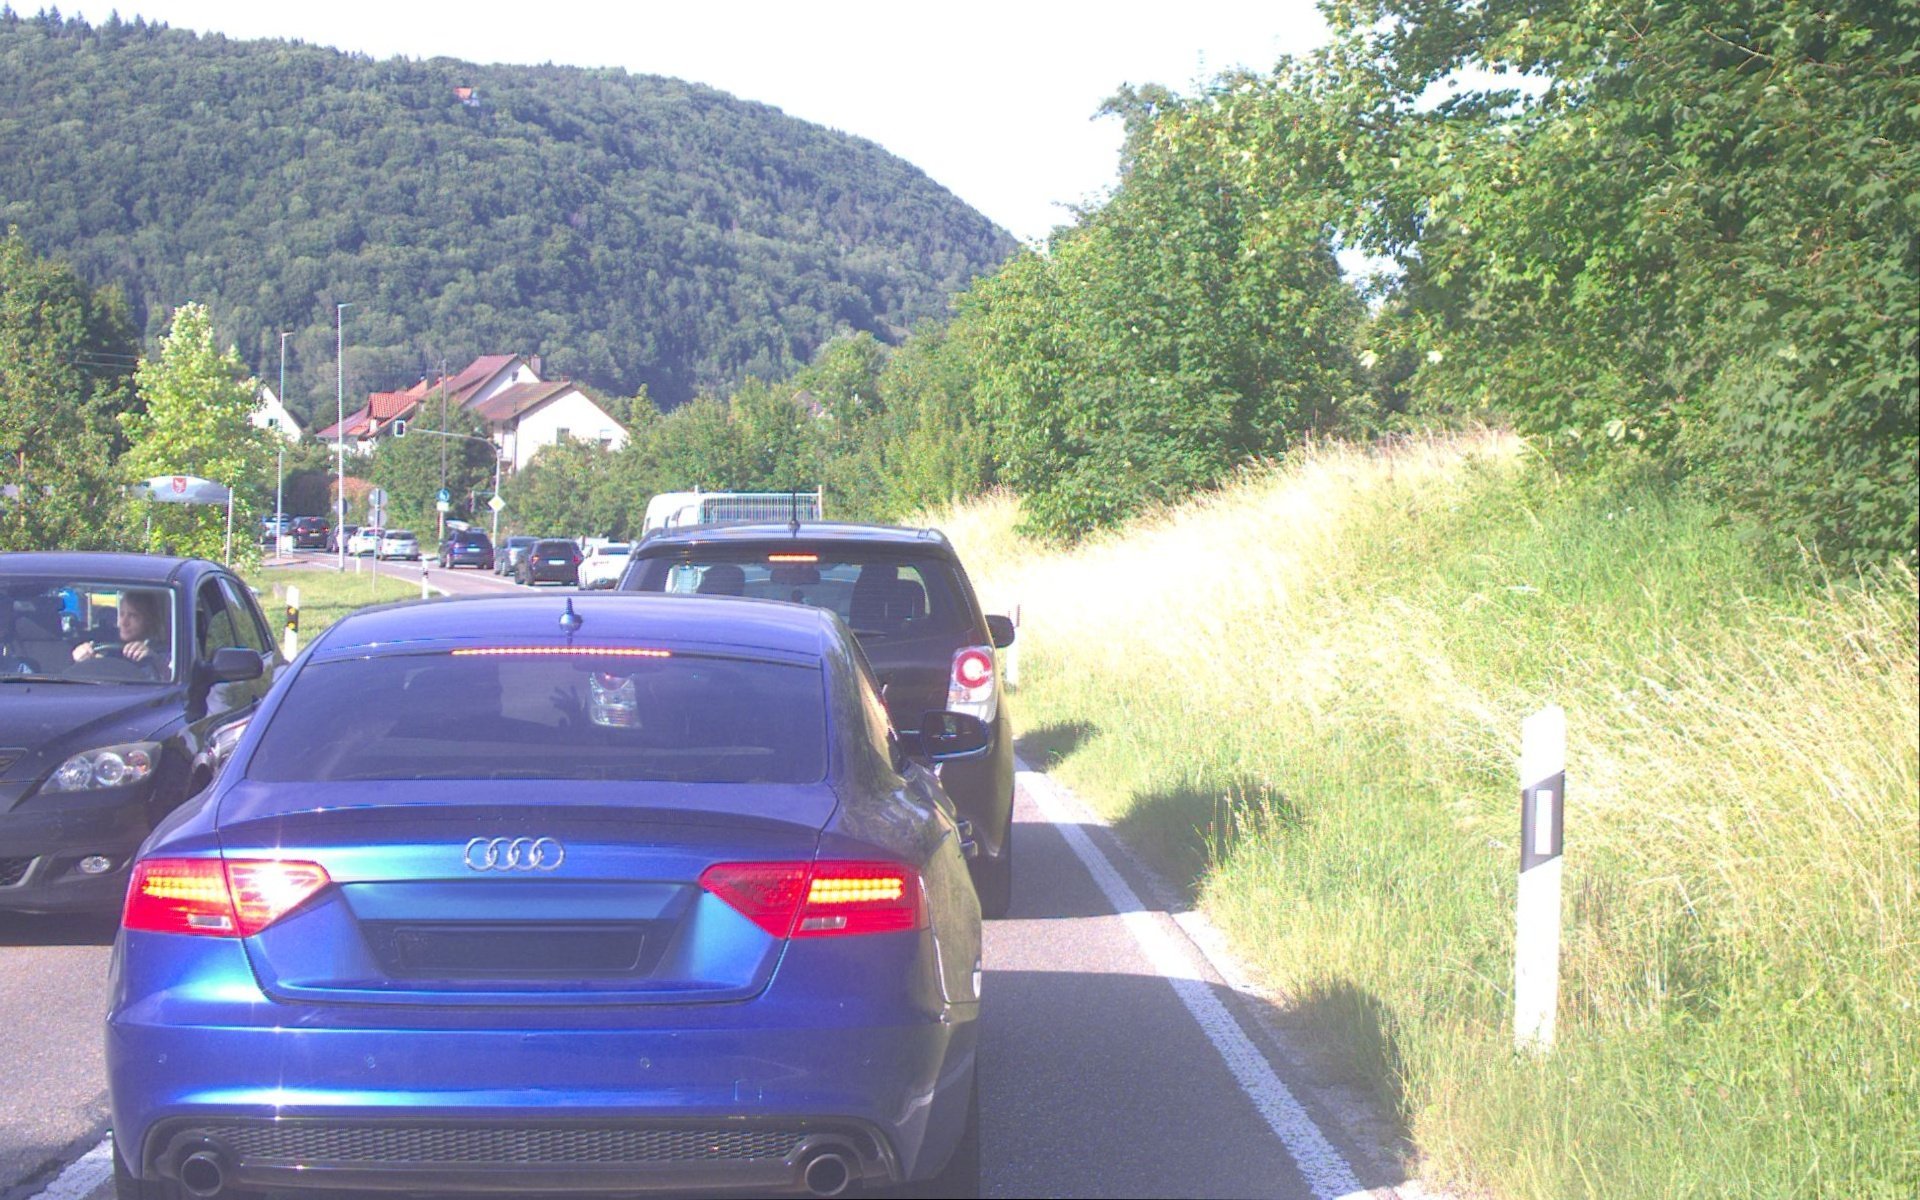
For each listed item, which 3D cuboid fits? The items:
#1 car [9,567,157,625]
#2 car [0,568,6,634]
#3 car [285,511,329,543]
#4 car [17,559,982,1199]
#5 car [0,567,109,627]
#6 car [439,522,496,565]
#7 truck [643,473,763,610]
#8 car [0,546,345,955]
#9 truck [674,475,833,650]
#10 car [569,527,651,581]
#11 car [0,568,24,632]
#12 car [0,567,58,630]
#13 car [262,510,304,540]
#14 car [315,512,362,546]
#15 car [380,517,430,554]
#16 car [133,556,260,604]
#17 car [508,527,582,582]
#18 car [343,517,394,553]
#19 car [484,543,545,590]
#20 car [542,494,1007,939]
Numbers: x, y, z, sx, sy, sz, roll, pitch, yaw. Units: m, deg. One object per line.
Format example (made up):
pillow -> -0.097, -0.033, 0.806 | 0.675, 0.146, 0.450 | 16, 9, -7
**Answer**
car -> -26.511, -0.126, 104.000 | 3.986, 1.705, 2.000 | 1, 0, -3
car -> -26.843, 0.007, 88.597 | 3.986, 1.705, 2.000 | 1, 0, -3
car -> -35.895, -4.015, 188.911 | 1.845, 1.706, 4.001 | 1, 0, -18
car -> -0.835, 0.633, 8.218 | 1.754, 1.425, 3.846 | 1, 0, 0
car -> -27.312, -0.113, 101.325 | 3.986, 1.705, 2.000 | 1, 0, -3
car -> -20.401, -2.339, 142.337 | 1.845, 1.706, 4.001 | 1, 0, -15
truck -> -5.156, -1.138, 68.260 | 2.229, 2.561, 6.709 | 1, 0, -5
car -> -3.712, 0.502, 14.064 | 1.704, 1.425, 4.051 | 1, 0, -1
truck -> -3.300, -0.583, 53.900 | 2.229, 2.561, 6.105 | 1, 0, -6
car -> -9.949, -1.296, 97.543 | 1.845, 1.477, 4.001 | 1, 0, -12
car -> -27.364, -0.032, 92.254 | 3.986, 1.705, 2.000 | 1, 0, -3
car -> -27.302, -0.061, 95.538 | 3.986, 1.705, 2.000 | 1, 0, -3
car -> -38.939, -4.311, 197.743 | 1.845, 1.706, 4.001 | 1, 0, -18
car -> -32.437, -3.709, 179.471 | 1.845, 1.706, 4.001 | 1, 0, -18
car -> -26.009, -3.006, 161.109 | 1.845, 1.706, 4.001 | 1, 0, -16
car -> -26.312, -0.695, 118.560 | 3.986, 1.573, 1.753 | 1, 0, -3
car -> -13.217, -1.446, 109.409 | 1.845, 1.706, 4.001 | 1, 0, -14
car -> -29.215, -3.193, 169.758 | 1.845, 1.706, 4.001 | 1, 0, -18
car -> -16.416, -1.240, 126.528 | 1.845, 1.706, 4.001 | 1, 0, -13
car -> -0.699, 0.429, 15.049 | 1.754, 1.675, 3.846 | 1, 0, 0
